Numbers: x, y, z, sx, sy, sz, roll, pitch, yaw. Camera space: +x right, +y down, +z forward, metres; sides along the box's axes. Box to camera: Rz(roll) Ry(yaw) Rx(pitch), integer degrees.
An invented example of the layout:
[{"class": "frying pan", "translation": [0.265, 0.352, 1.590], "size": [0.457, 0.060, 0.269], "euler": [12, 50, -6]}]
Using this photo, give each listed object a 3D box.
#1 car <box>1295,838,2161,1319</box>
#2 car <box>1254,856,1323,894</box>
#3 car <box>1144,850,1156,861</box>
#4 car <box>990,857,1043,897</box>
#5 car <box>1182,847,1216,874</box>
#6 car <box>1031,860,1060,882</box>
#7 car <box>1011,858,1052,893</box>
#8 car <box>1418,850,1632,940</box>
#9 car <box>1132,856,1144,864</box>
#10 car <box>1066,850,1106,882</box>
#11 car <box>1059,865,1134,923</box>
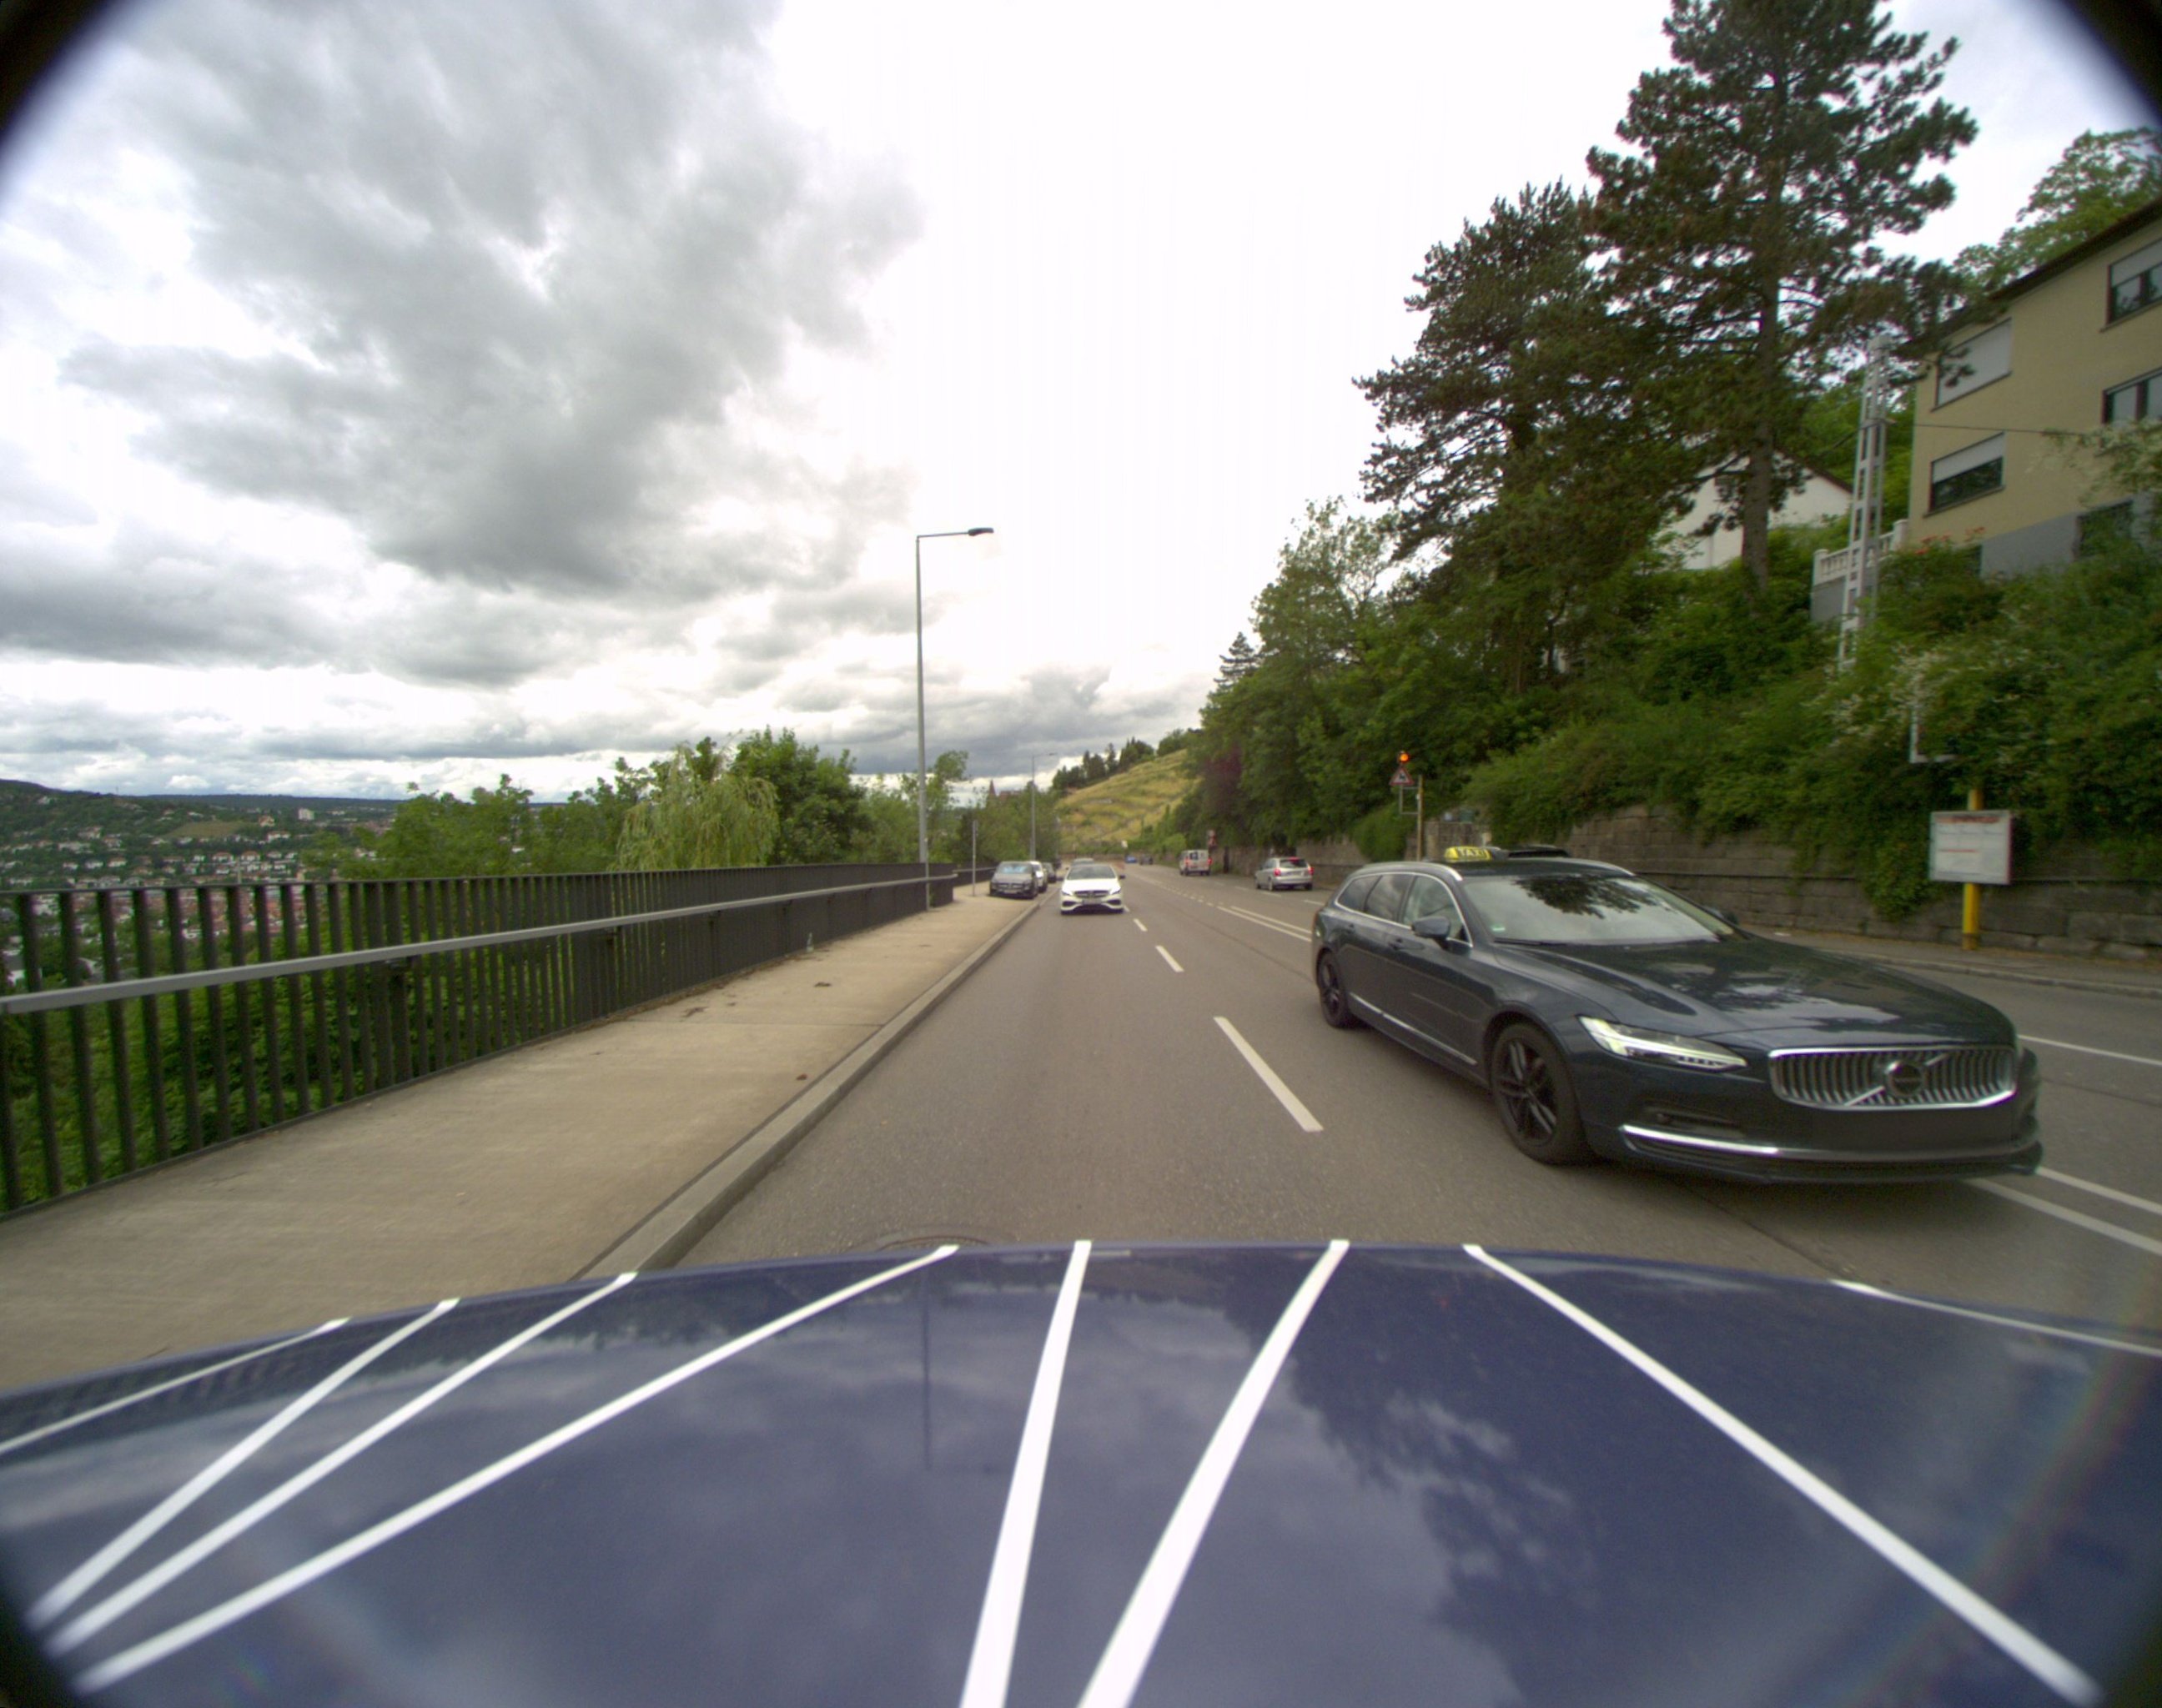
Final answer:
[{"class": "car", "translation": [3.106, 0.767, 5.110], "size": [1.939, 1.567, 5.027], "euler": [-3, 0, 1]}, {"class": "car", "translation": [8.764, 0.864, 32.444], "size": [1.680, 1.433, 4.233], "euler": [-3, -1, 0]}, {"class": "car", "translation": [10.974, 0.264, 120.762], "size": [1.819, 1.687, 4.471], "euler": [-2, 0, 6]}, {"class": "car", "translation": [-2.653, 0.919, 32.179], "size": [1.761, 1.535, 4.427], "euler": [2, 0, 0]}, {"class": "car", "translation": [9.277, 0.518, 60.232], "size": [1.926, 1.993, 5.356], "euler": [-1, 0, 1]}, {"class": "car", "translation": [-2.464, 1.125, 52.974], "size": [1.828, 1.393, 4.319], "euler": [1, 0, -1]}, {"class": "car", "translation": [-2.423, 1.035, 38.385], "size": [1.731, 1.559, 4.624], "euler": [0, 0, 0]}, {"class": "car", "translation": [8.813, 0.716, 15.580], "size": [1.946, 1.540, 4.248], "euler": [-1, 1, 1]}, {"class": "car", "translation": [10.327, 1.107, 138.791], "size": [1.588, 1.453, 3.521], "euler": [-1, 0, -6]}, {"class": "car", "translation": [0.321, 0.608, 41.650], "size": [1.998, 1.580, 4.000], "euler": [-3, 0, 1]}, {"class": "car", "translation": [0.380, 1.082, 21.968], "size": [1.903, 1.418, 4.266], "euler": [-3, -1, -1]}]
